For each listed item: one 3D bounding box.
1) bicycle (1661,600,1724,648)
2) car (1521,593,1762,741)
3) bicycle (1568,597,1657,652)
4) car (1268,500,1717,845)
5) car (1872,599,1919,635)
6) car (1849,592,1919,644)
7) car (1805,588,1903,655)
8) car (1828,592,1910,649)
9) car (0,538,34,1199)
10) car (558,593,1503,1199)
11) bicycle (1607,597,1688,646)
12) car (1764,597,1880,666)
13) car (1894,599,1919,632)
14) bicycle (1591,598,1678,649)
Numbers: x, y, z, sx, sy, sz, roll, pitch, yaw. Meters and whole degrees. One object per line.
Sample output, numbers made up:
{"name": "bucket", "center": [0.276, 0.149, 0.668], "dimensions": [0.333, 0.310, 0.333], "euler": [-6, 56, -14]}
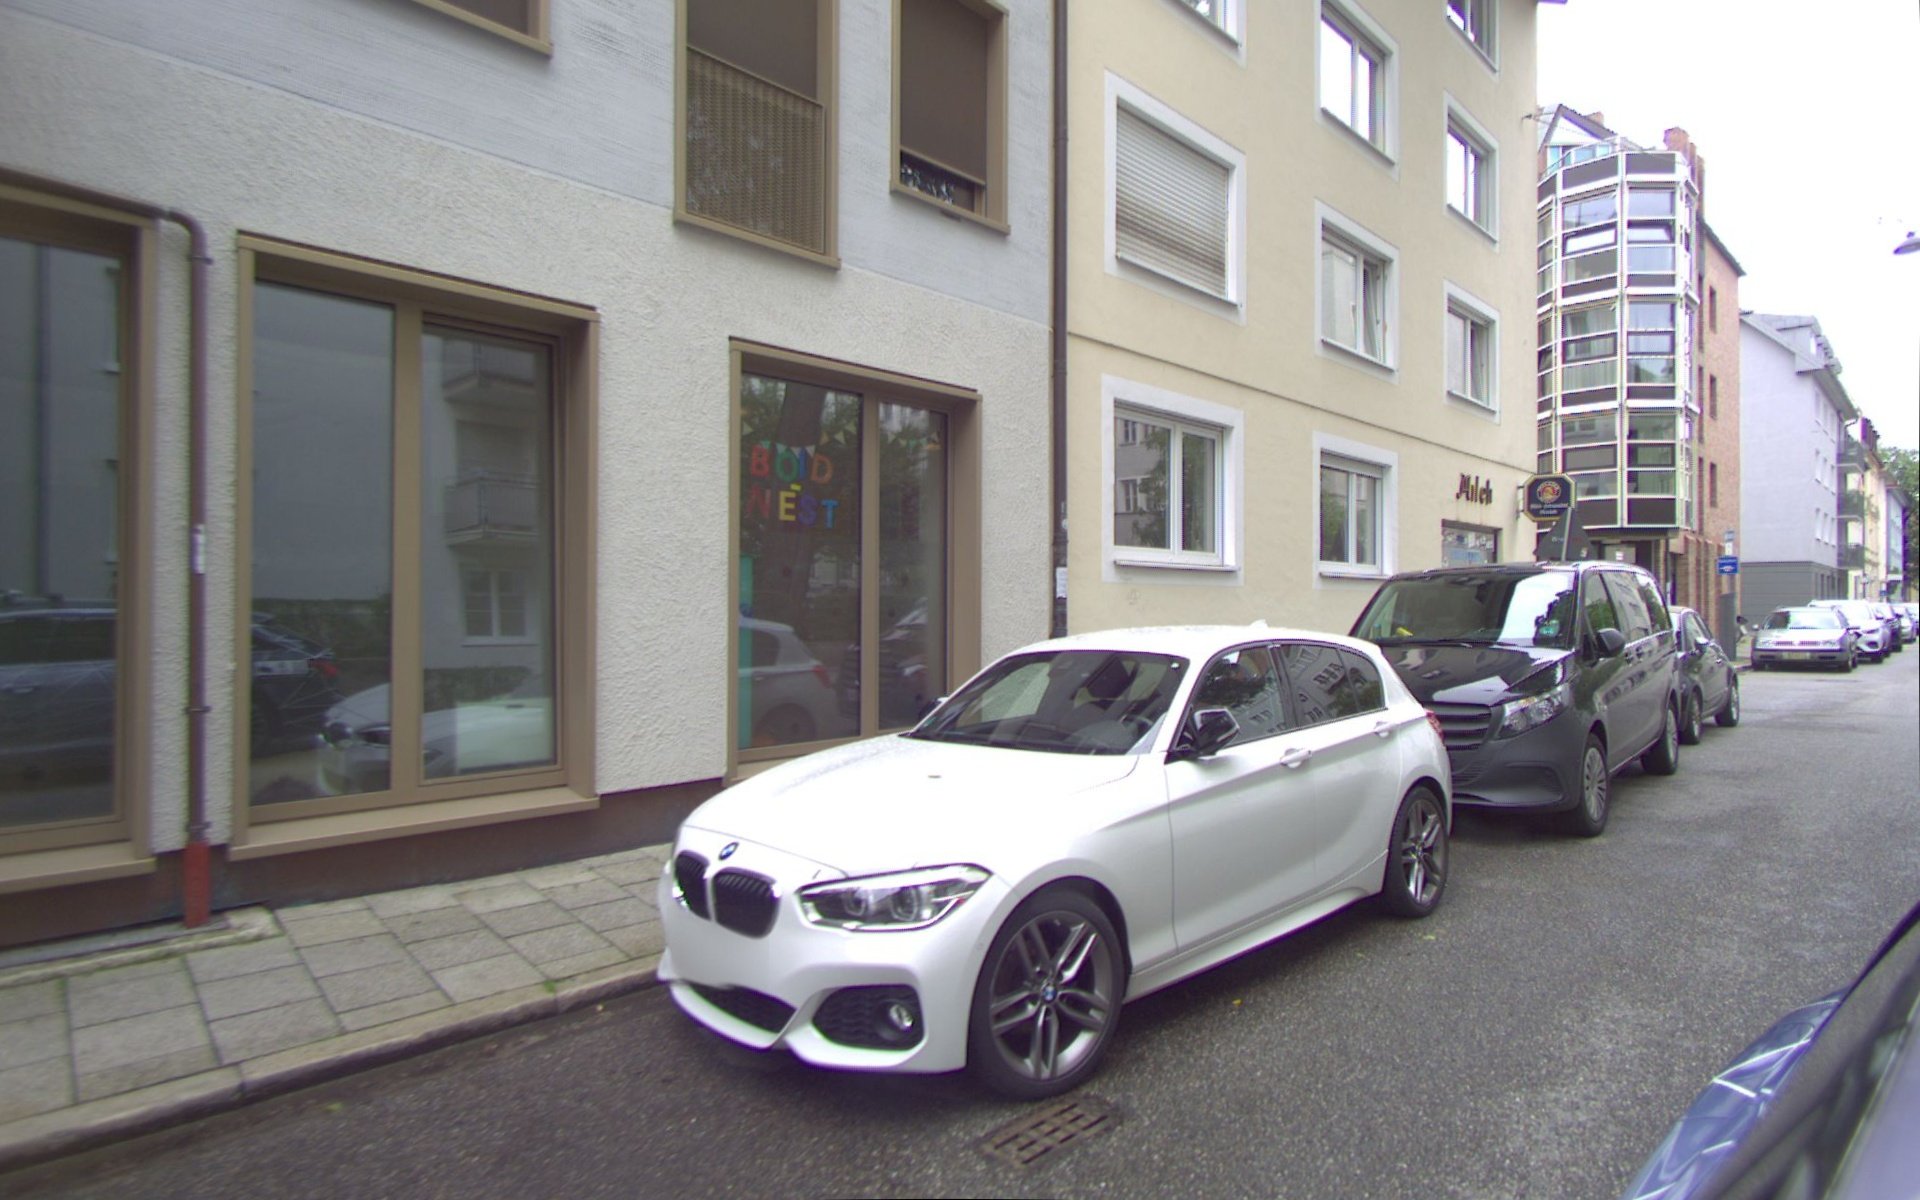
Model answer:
{"name": "bicycle", "center": [19.894, 0.637, 27.484], "dimensions": [1.744, 1.232, 0.744], "euler": [0, 0, -30]}
{"name": "car", "center": [8.184, 0.702, 12.043], "dimensions": [3.479, 1.490, 1.635], "euler": [0, -2, -44]}
{"name": "bicycle", "center": [16.407, 0.601, 25.472], "dimensions": [1.783, 1.339, 0.583], "euler": [0, 1, 22]}
{"name": "car", "center": [4.608, 0.448, 8.327], "dimensions": [1.990, 2.002, 4.808], "euler": [-3, -2, 43]}
{"name": "car", "center": [37.657, 0.662, 40.364], "dimensions": [3.754, 1.394, 1.616], "euler": [0, -1, -44]}
{"name": "car", "center": [30.715, 0.574, 33.574], "dimensions": [1.615, 1.600, 3.987], "euler": [-2, -1, 44]}
{"name": "car", "center": [23.849, 0.547, 26.944], "dimensions": [1.720, 1.636, 4.383], "euler": [-2, -1, 44]}
{"name": "car", "center": [26.966, 0.588, 29.989], "dimensions": [1.615, 1.578, 3.747], "euler": [-2, -1, 44]}
{"name": "car", "center": [-3.195, 0.720, 0.499], "dimensions": [3.996, 1.544, 1.773], "euler": [0, -2, -42]}
{"name": "car", "center": [0.681, 0.748, 4.571], "dimensions": [4.305, 1.480, 1.770], "euler": [0, -2, -43]}
{"name": "bicycle", "center": [18.510, 0.548, 27.287], "dimensions": [0.581, 1.245, 1.881], "euler": [0, 1, -14]}
{"name": "car", "center": [19.828, 0.673, 23.225], "dimensions": [1.720, 1.453, 4.289], "euler": [-2, -1, 44]}
{"name": "car", "center": [41.454, 0.677, 43.939], "dimensions": [2.640, 1.393, 1.152], "euler": [0, -1, -44]}
{"name": "bicycle", "center": [17.127, 0.579, 25.728], "dimensions": [0.434, 1.201, 1.754], "euler": [0, 2, -37]}
